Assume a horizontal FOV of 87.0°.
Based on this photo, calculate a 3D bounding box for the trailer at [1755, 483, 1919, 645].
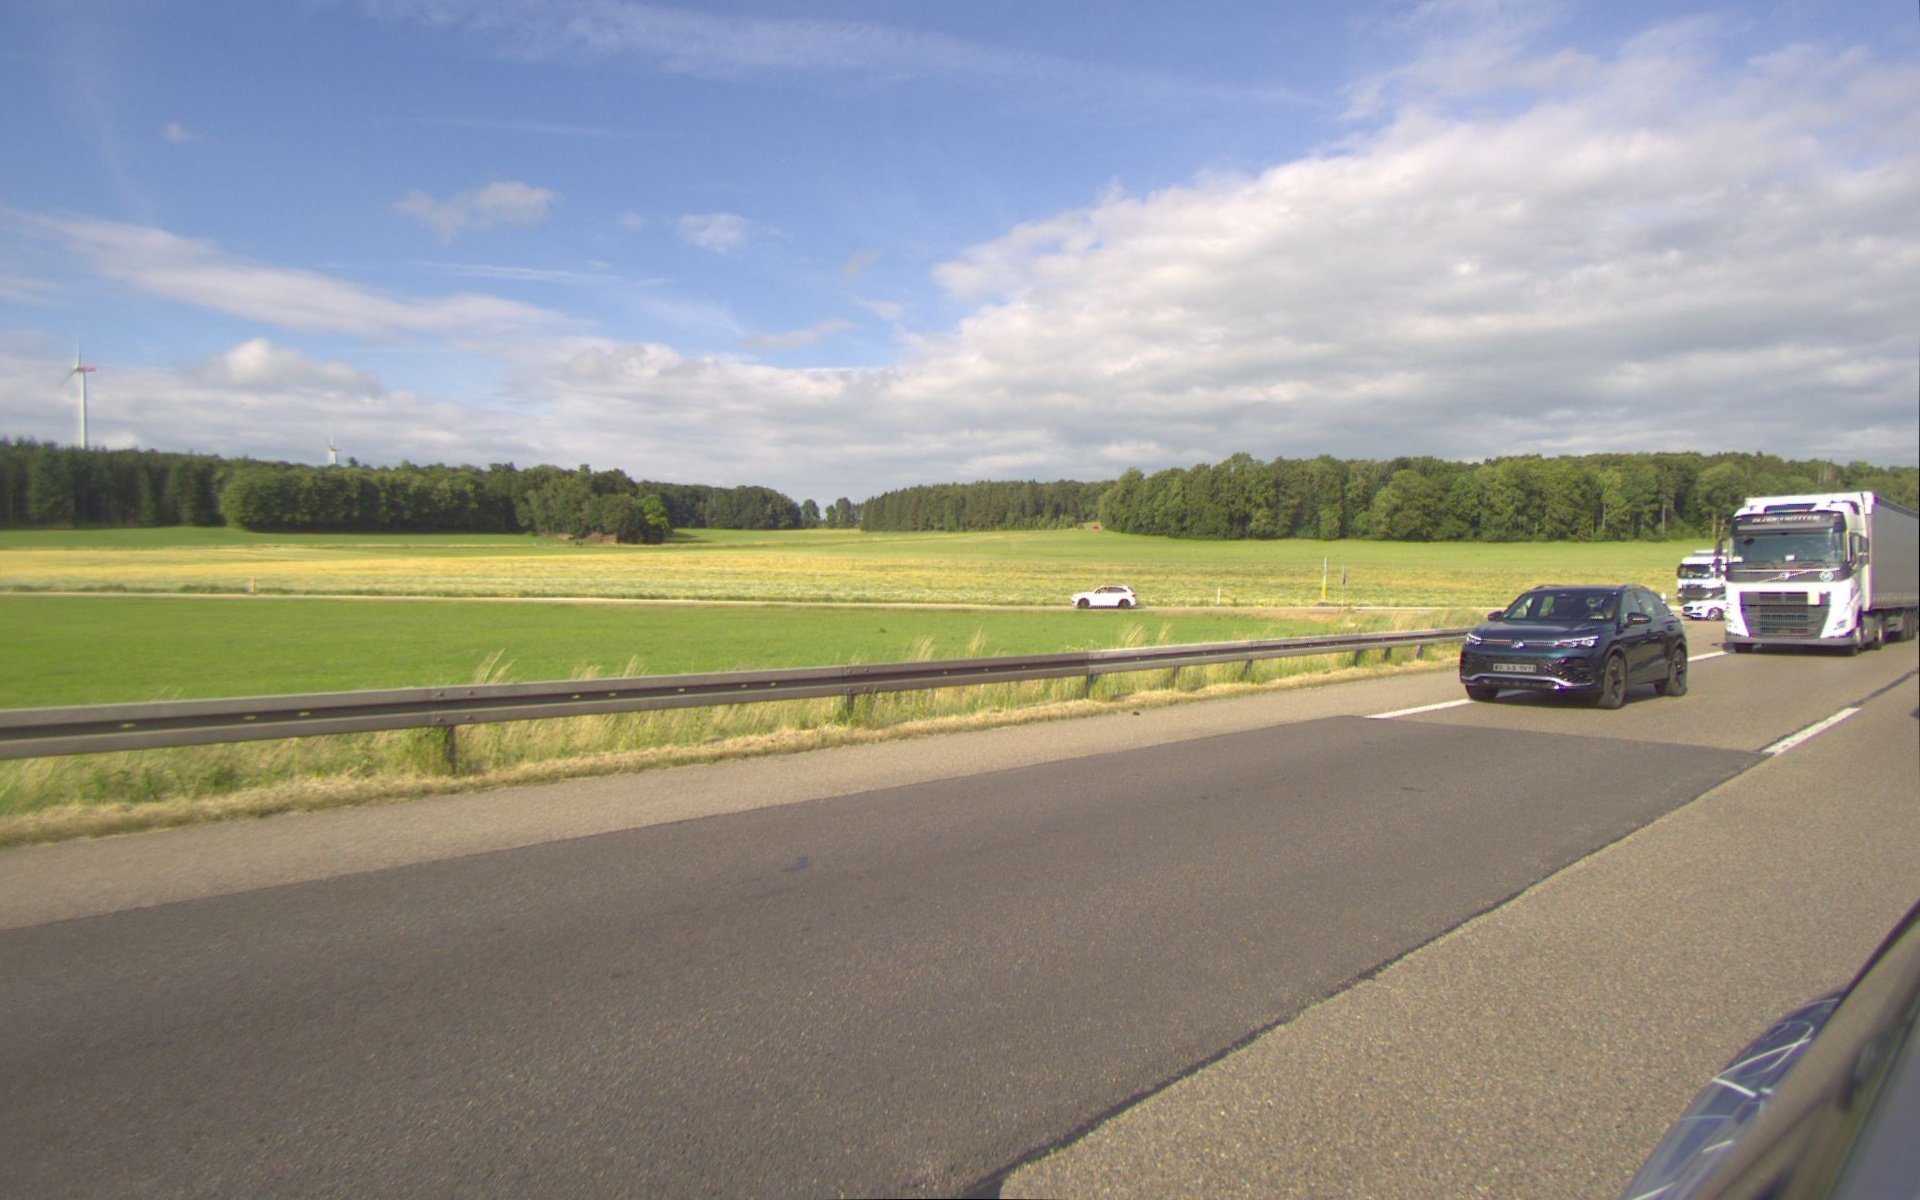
[{"bbox_3d":[26.922,-0.965,30.098,11.914,4.032,2.824,-1,0,-40],"label":"trailer"}]

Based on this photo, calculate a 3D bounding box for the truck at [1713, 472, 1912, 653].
[{"bbox_3d":[21.807,-0.880,25.769,6.386,4.040,2.840,-1,0,-40],"label":"truck"}]

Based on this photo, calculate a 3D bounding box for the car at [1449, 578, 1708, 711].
[{"bbox_3d":[8.879,0.512,14.418,4.046,1.616,1.997,-1,1,-40],"label":"car"}]

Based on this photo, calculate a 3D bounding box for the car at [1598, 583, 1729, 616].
[{"bbox_3d":[35.010,-0.021,50.517,5.023,1.565,1.985,0,0,23],"label":"car"}]

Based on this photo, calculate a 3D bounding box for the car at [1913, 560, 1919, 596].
[{"bbox_3d":[45.846,-1.033,46.957,3.930,1.678,1.997,-1,1,-41],"label":"car"}]

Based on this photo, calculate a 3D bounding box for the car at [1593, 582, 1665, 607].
[{"bbox_3d":[43.963,-0.357,66.573,3.505,1.549,1.719,0,0,11],"label":"car"}]

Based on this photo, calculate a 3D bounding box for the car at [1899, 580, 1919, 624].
[{"bbox_3d":[38.379,0.056,39.603,3.930,1.678,1.997,-1,1,-41],"label":"car"}]

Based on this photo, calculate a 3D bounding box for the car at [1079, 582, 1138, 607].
[{"bbox_3d":[10.224,-0.371,69.633,3.937,1.638,1.994,0,0,11],"label":"car"}]
